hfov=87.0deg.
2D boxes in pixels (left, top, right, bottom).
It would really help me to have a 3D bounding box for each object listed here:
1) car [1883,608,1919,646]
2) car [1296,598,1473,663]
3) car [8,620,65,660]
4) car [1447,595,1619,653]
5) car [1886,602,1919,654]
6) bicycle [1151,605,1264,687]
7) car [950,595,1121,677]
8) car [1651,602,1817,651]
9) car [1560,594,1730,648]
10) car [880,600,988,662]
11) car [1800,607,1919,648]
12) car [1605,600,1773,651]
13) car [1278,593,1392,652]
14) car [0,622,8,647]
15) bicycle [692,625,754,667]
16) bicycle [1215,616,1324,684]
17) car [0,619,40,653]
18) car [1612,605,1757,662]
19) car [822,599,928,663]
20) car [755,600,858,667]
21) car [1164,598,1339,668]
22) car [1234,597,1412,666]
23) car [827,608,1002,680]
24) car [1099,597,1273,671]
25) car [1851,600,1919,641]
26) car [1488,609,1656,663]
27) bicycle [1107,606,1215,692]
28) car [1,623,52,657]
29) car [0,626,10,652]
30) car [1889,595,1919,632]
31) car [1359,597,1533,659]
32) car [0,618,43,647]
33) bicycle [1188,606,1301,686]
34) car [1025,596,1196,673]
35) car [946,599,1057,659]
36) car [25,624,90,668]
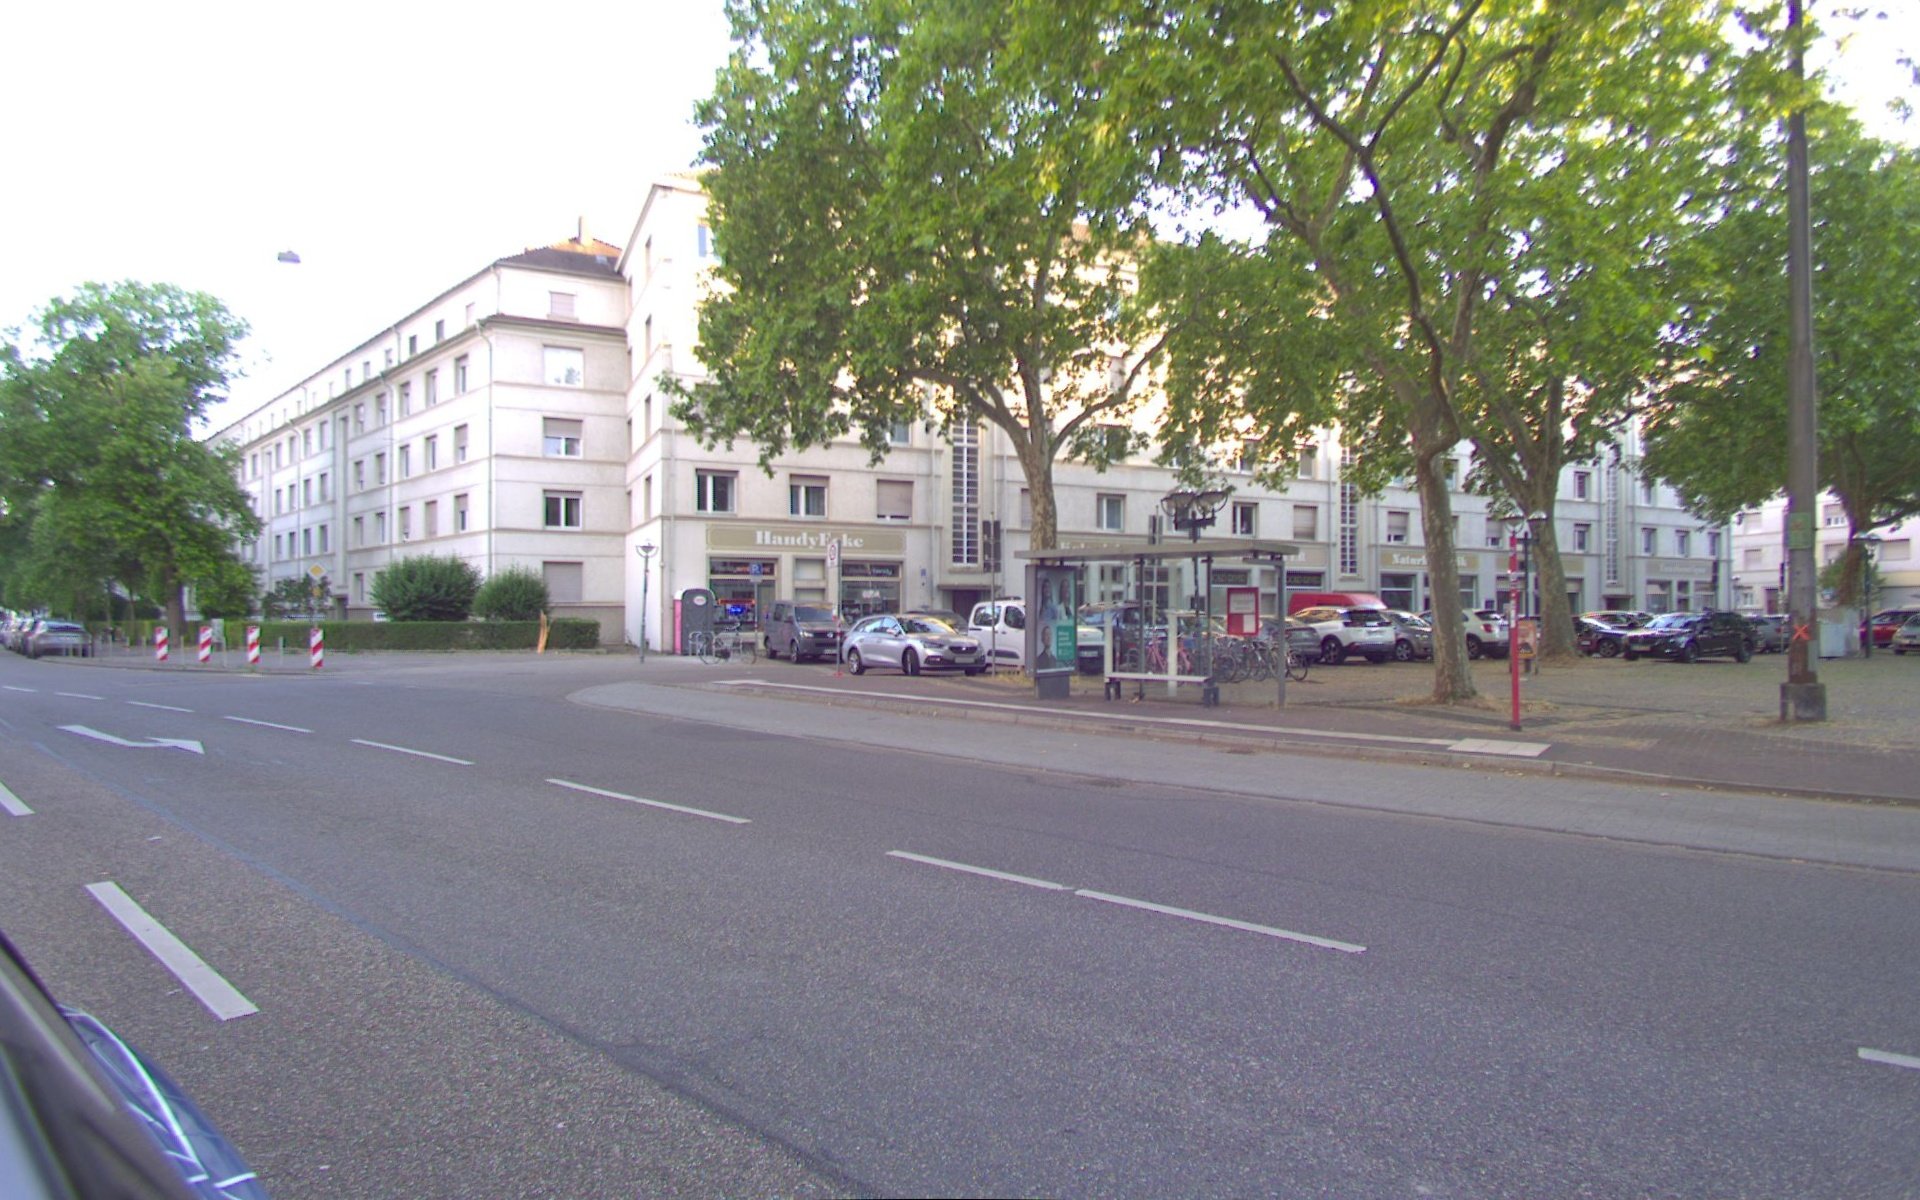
[{"bbox_3d":[45.719,1.230,46.502,1.969,1.748,4.648,2,-4,-40],"label":"car"},{"bbox_3d":[12.597,0.962,30.369,1.965,1.795,4.655,1,-3,-28],"label":"car"},{"bbox_3d":[-43.358,1.848,47.491,1.866,1.703,4.263,-1,0,-44],"label":"car"},{"bbox_3d":[19.177,0.869,34.103,1.965,1.795,4.655,1,-3,-28],"label":"car"},{"bbox_3d":[33.069,0.902,33.882,3.696,1.674,1.680,-1,0,-23],"label":"car"},{"bbox_3d":[5.231,0.930,21.637,0.795,1.626,2.754,0,0,-24],"label":"bicycle"},{"bbox_3d":[1.717,0.916,24.754,1.965,1.795,4.655,1,-3,-28],"label":"car"},{"bbox_3d":[29.771,1.084,39.097,1.965,1.748,4.655,1,-3,-28],"label":"car"},{"bbox_3d":[24.736,0.824,36.747,2.057,1.795,4.655,1,-3,-28],"label":"car"},{"bbox_3d":[-0.995,1.025,35.409,1.965,1.970,4.656,1,0,-26],"label":"car"},{"bbox_3d":[40.627,1.260,45.093,1.969,1.748,4.648,2,-4,-40],"label":"car"},{"bbox_3d":[27.077,1.020,37.760,1.965,1.795,4.655,1,-3,-28],"label":"car"},{"bbox_3d":[16.644,0.950,45.178,1.965,2.460,4.656,1,0,-26],"label":"car"},{"bbox_3d":[-76.321,2.707,79.734,1.866,1.879,4.263,0,0,-44],"label":"car"},{"bbox_3d":[-7.174,1.381,30.653,1.776,1.215,0.649,0,0,-16],"label":"bicycle"},{"bbox_3d":[6.882,1.069,22.667,0.680,1.394,2.754,0,0,-24],"label":"bicycle"},{"bbox_3d":[-52.886,1.971,56.693,1.866,1.787,4.263,-1,0,-44],"label":"car"},{"bbox_3d":[20.746,0.927,28.976,3.696,1.540,1.680,1,0,-23],"label":"car"},{"bbox_3d":[-2.978,0.994,34.313,1.965,1.970,4.656,1,0,-26],"label":"car"},{"bbox_3d":[-5.095,1.025,33.064,1.965,1.970,4.656,1,0,-26],"label":"car"},{"bbox_3d":[7.971,0.960,28.200,1.965,1.795,4.655,1,-3,-28],"label":"car"},{"bbox_3d":[10.255,0.941,28.986,1.965,1.795,4.655,1,-3,-28],"label":"car"},{"bbox_3d":[-1.198,1.051,23.885,1.967,1.515,4.652,2,-3,-35],"label":"car"},{"bbox_3d":[5.917,0.960,27.117,1.965,1.795,4.655,1,-3,-28],"label":"car"},{"bbox_3d":[43.427,0.922,45.541,1.968,1.824,4.658,2,-4,-38],"label":"car"},{"bbox_3d":[21.360,1.298,35.563,1.965,1.748,4.655,1,-3,-28],"label":"car"},{"bbox_3d":[4.053,0.943,20.710,0.680,1.626,2.754,0,0,-24],"label":"bicycle"},{"bbox_3d":[-48.546,2.050,52.612,1.866,1.612,4.263,-1,0,-44],"label":"car"},{"bbox_3d":[-70.059,2.822,73.246,1.866,1.840,4.263,-1,0,-44],"label":"car"},{"bbox_3d":[47.543,0.616,48.158,1.969,1.748,4.648,2,-4,-40],"label":"car"},{"bbox_3d":[15.168,0.942,31.870,1.965,1.795,4.655,1,-3,-28],"label":"car"},{"bbox_3d":[-56.544,1.936,60.925,1.866,1.612,4.263,-1,0,-44],"label":"car"},{"bbox_3d":[6.170,0.949,22.154,0.795,1.626,2.754,0,0,-24],"label":"bicycle"},{"bbox_3d":[3.761,0.936,26.213,1.965,1.795,4.655,1,-3,-28],"label":"car"},{"bbox_3d":[1.414,1.002,36.594,1.965,1.970,4.656,1,0,-26],"label":"car"},{"bbox_3d":[-37.305,1.866,41.811,1.867,1.612,4.003,-1,0,-44],"label":"car"}]
